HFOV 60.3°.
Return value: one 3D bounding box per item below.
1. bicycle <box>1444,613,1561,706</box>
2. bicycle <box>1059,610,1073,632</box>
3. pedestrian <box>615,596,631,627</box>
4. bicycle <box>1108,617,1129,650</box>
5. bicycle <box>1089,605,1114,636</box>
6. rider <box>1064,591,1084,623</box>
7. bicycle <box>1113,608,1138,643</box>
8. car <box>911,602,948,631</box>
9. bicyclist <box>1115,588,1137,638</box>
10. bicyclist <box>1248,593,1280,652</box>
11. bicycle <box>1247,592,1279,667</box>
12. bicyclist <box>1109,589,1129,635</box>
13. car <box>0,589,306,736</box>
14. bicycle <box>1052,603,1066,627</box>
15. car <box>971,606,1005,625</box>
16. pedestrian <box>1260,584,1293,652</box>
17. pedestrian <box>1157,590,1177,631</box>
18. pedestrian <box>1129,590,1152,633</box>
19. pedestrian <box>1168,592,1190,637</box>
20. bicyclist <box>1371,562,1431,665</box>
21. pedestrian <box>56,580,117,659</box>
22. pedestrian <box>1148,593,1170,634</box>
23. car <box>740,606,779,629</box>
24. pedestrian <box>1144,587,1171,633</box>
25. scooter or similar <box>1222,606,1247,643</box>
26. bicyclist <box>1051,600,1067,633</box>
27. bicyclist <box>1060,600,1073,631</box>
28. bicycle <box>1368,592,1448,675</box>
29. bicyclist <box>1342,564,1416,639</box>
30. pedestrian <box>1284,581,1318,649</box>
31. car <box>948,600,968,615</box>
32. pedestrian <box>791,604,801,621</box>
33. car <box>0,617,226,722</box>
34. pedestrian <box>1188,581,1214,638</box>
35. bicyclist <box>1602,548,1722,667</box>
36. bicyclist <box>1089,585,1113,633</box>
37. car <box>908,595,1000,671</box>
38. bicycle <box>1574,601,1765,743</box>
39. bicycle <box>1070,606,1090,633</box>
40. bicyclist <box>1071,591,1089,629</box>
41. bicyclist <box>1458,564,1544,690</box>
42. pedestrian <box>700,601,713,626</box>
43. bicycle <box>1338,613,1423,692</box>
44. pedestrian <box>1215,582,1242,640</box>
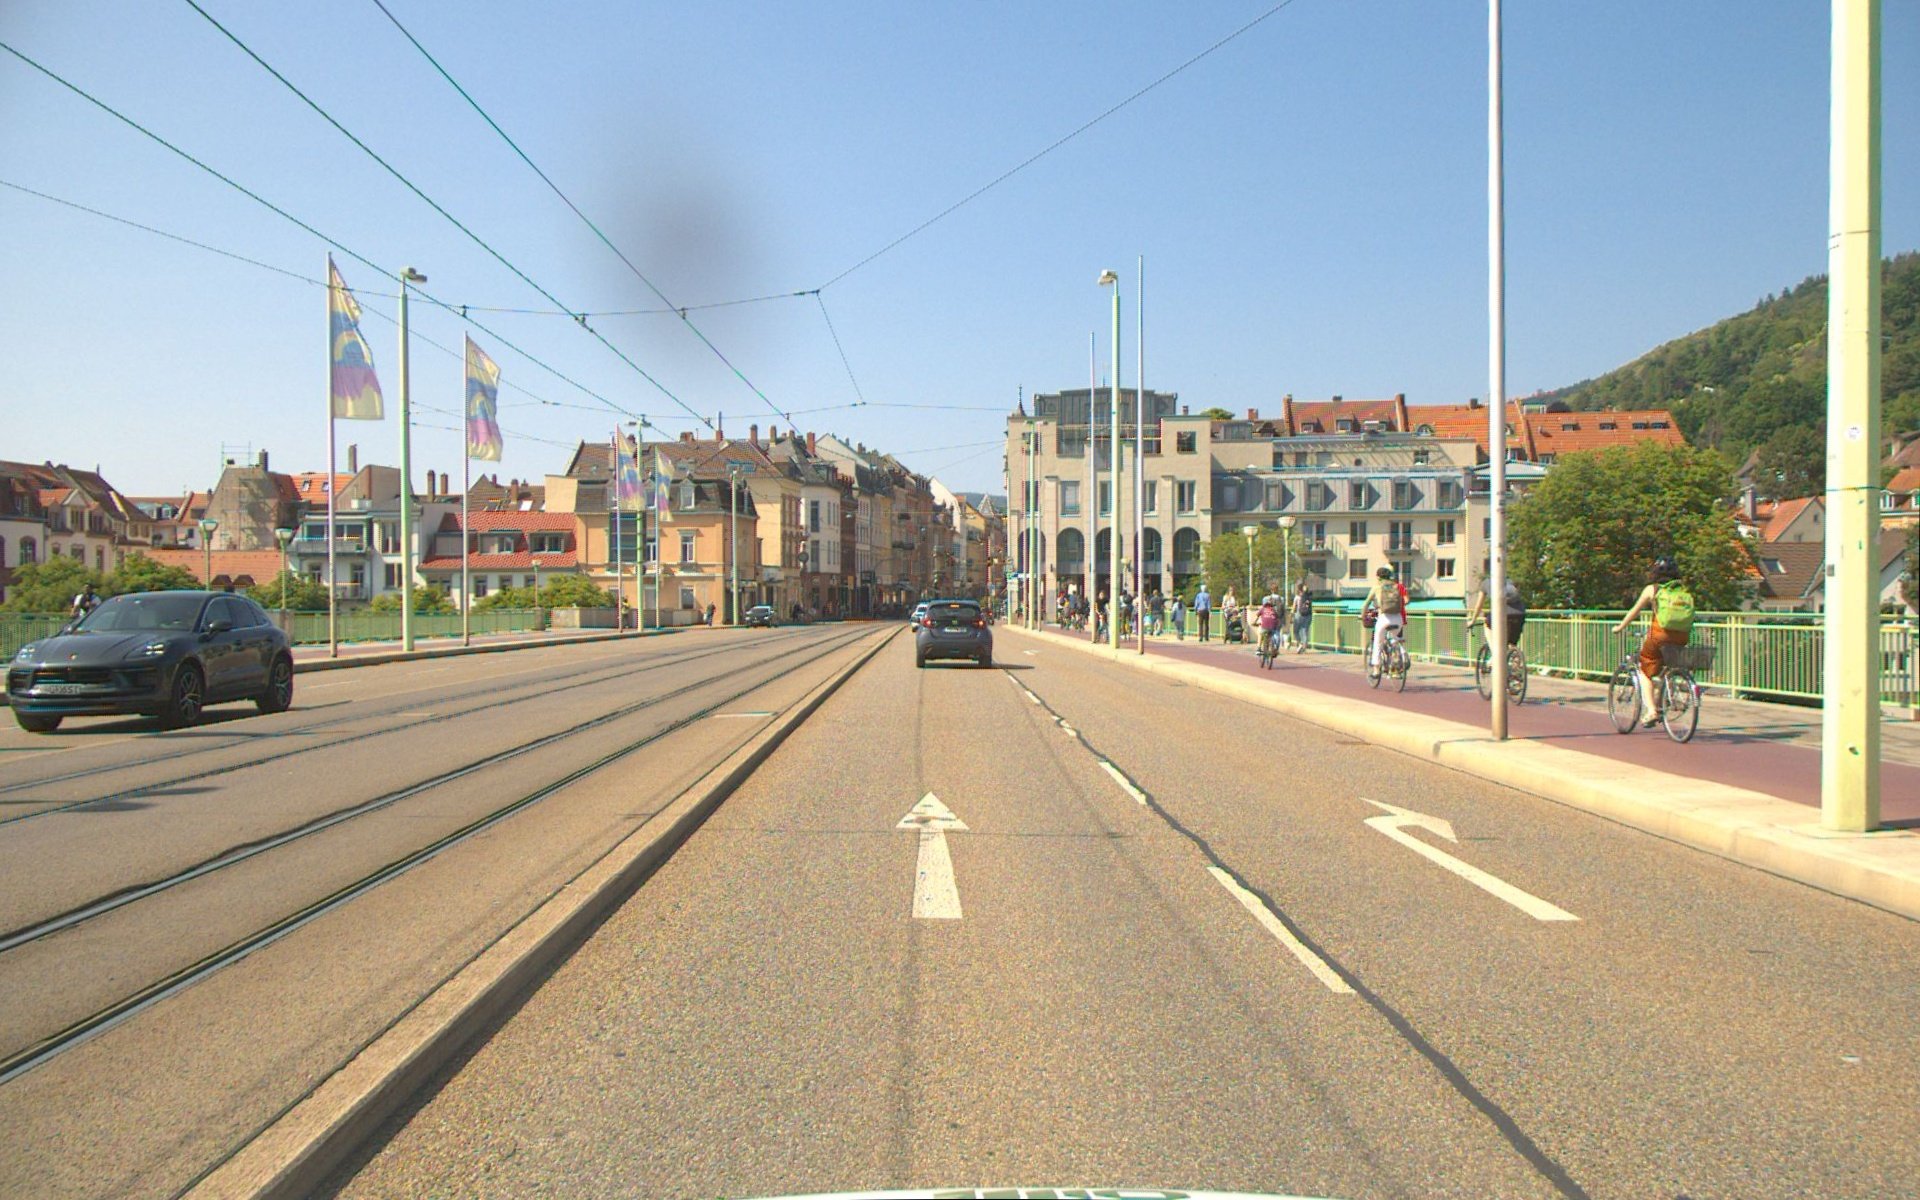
[{"bbox_3d":[6.710,0.710,20.572,0.606,1.055,2.265,0,0,-3],"label":"bicycle"},{"bbox_3d":[5.359,1.058,83.544,0.652,1.068,2.029,0,0,2],"label":"bicycle"},{"bbox_3d":[-19.698,0.685,96.663,0.747,1.818,0.663,0,0,1],"label":"pedestrian"},{"bbox_3d":[5.906,1.242,61.779,0.515,1.199,2.028,0,0,-3],"label":"bicycle"},{"bbox_3d":[4.799,0.699,56.057,0.640,0.998,2.178,-2,0,0],"label":"bicycle"},{"bbox_3d":[5.370,0.326,78.075,0.871,1.531,0.840,0,0,-3],"label":"rider"},{"bbox_3d":[5.746,0.872,57.388,0.581,1.199,1.939,0,0,-3],"label":"bicycle"},{"bbox_3d":[-1.685,0.864,89.118,1.768,1.494,3.997,-2,0,-4],"label":"car"},{"bbox_3d":[5.755,0.441,57.304,0.643,1.705,0.868,0,0,-3],"label":"bicyclist"},{"bbox_3d":[5.863,0.420,31.905,0.586,1.121,0.853,0,0,8],"label":"bicyclist"},{"bbox_3d":[5.829,0.537,31.858,0.523,1.391,2.218,0,0,8],"label":"bicycle"},{"bbox_3d":[5.929,0.437,61.605,0.615,1.719,0.868,0,0,-3],"label":"bicyclist"},{"bbox_3d":[-9.958,0.679,20.640,1.953,1.627,4.337,0,0,-1],"label":"car"},{"bbox_3d":[5.190,0.769,86.786,0.652,1.199,2.029,0,0,2],"label":"bicycle"},{"bbox_3d":[2.371,1.305,138.873,1.766,1.494,4.002,-2,0,18],"label":"car"},{"bbox_3d":[7.586,0.423,39.667,0.587,1.614,0.866,0,0,-3],"label":"pedestrian"},{"bbox_3d":[8.619,0.431,68.884,0.698,1.680,0.848,0,0,1],"label":"pedestrian"},{"bbox_3d":[7.276,0.462,66.823,0.817,1.719,0.869,0,0,-2],"label":"pedestrian"},{"bbox_3d":[7.304,0.486,55.154,0.601,1.491,0.848,0,0,-1],"label":"pedestrian"},{"bbox_3d":[7.264,0.216,27.246,0.720,1.664,0.866,0,0,-3],"label":"bicyclist"},{"bbox_3d":[-19.680,0.437,37.281,0.813,1.752,1.094,0,0,-1],"label":"pedestrian"},{"bbox_3d":[8.425,0.561,70.131,0.817,1.719,0.869,0,0,-2],"label":"pedestrian"},{"bbox_3d":[-13.542,1.178,112.056,1.952,1.505,4.002,0,0,3],"label":"car"},{"bbox_3d":[7.788,0.373,65.229,0.911,1.792,0.937,0,0,-2],"label":"pedestrian"},{"bbox_3d":[8.286,0.726,50.013,0.577,1.088,0.865,0,0,-3],"label":"scooter or similar"},{"bbox_3d":[5.175,0.841,86.767,0.779,1.705,0.869,1,0,2],"label":"bicyclist"},{"bbox_3d":[5.361,0.781,83.450,0.638,1.556,0.975,0,0,2],"label":"bicyclist"},{"bbox_3d":[7.347,0.527,27.216,0.606,1.293,2.215,0,0,-3],"label":"bicycle"},{"bbox_3d":[6.029,0.015,23.848,0.720,1.048,1.175,0,0,-3],"label":"bicyclist"},{"bbox_3d":[8.186,0.353,39.704,0.587,1.614,0.866,0,0,-3],"label":"pedestrian"},{"bbox_3d":[-0.176,0.778,171.376,1.838,1.433,4.002,0,0,4],"label":"car"},{"bbox_3d":[-13.798,1.076,139.192,0.747,1.422,0.663,0,0,1],"label":"pedestrian"},{"bbox_3d":[-13.051,0.994,25.372,1.723,1.386,4.382,0,0,-2],"label":"car"},{"bbox_3d":[7.892,0.310,54.096,0.698,1.842,0.848,0,0,-1],"label":"pedestrian"},{"bbox_3d":[6.493,0.066,15.331,0.653,1.063,0.979,0,0,-4],"label":"bicyclist"},{"bbox_3d":[4.778,0.294,56.119,0.640,1.594,1.337,-2,-1,0],"label":"bicyclist"},{"bbox_3d":[-0.199,0.707,38.185,1.872,1.567,3.998,-1,1,-4],"label":"car"},{"bbox_3d":[6.526,0.623,15.344,0.682,1.214,2.076,-1,0,-6],"label":"bicycle"},{"bbox_3d":[5.357,0.858,73.888,0.653,1.199,2.028,0,0,-3],"label":"bicycle"},{"bbox_3d":[5.357,0.449,73.917,0.701,1.705,0.868,0,0,-3],"label":"bicyclist"},{"bbox_3d":[6.735,0.323,20.629,0.720,1.527,0.980,0,0,-3],"label":"bicyclist"},{"bbox_3d":[-17.500,0.910,114.134,0.747,1.694,0.663,0,0,1],"label":"pedestrian"},{"bbox_3d":[6.041,0.735,23.850,0.606,1.056,2.050,0,0,-3],"label":"bicycle"},{"bbox_3d":[8.260,0.328,50.893,0.629,1.787,0.866,0,0,-3],"label":"pedestrian"}]
